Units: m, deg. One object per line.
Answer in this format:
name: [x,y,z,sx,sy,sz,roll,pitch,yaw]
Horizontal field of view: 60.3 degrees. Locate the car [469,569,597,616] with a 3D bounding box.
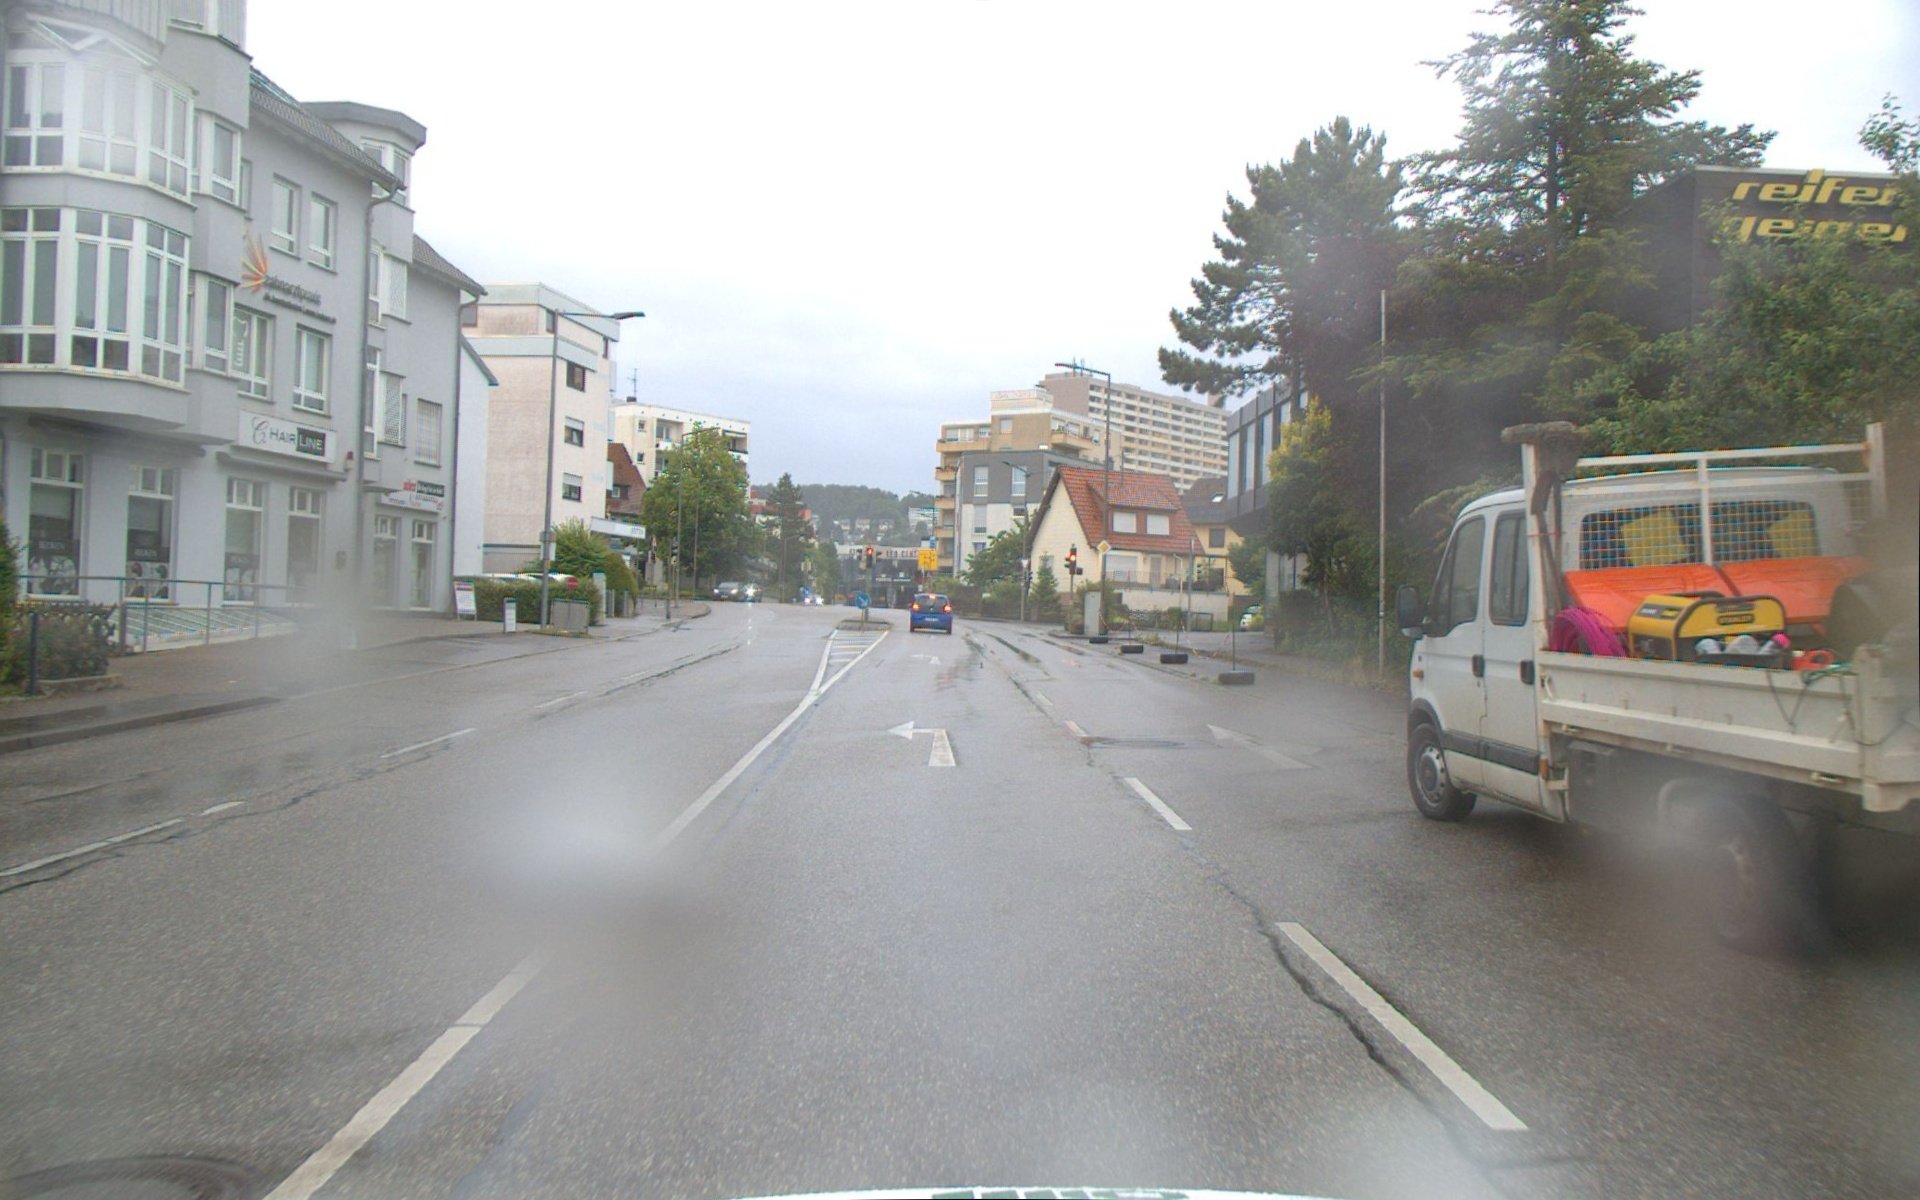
car: [-16.573,-0.290,64.270,4.356,1.665,1.941,1,0,9]

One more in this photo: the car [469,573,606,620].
car: [-14.470,-0.127,56.773,4.130,1.499,1.905,1,0,4]

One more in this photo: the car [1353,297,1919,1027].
car: [4.106,0.196,8.855,2.343,2.474,6.431,0,0,-1]

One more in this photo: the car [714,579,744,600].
car: [-16.788,-0.743,120.343,1.743,1.445,3.830,2,0,-1]

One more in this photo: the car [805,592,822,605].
car: [-17.055,-0.140,192.438,1.743,1.445,3.830,2,0,-1]

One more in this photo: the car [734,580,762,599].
car: [-16.342,-0.802,127.518,1.680,1.411,4.019,2,0,-1]

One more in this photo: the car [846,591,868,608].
car: [-9.261,-0.077,148.982,1.776,1.512,4.188,1,0,0]

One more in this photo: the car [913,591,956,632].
car: [-0.964,0.417,62.699,1.547,1.435,3.269,2,0,-1]

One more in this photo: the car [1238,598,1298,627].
car: [17.228,0.715,92.442,1.710,1.541,3.985,2,0,36]
